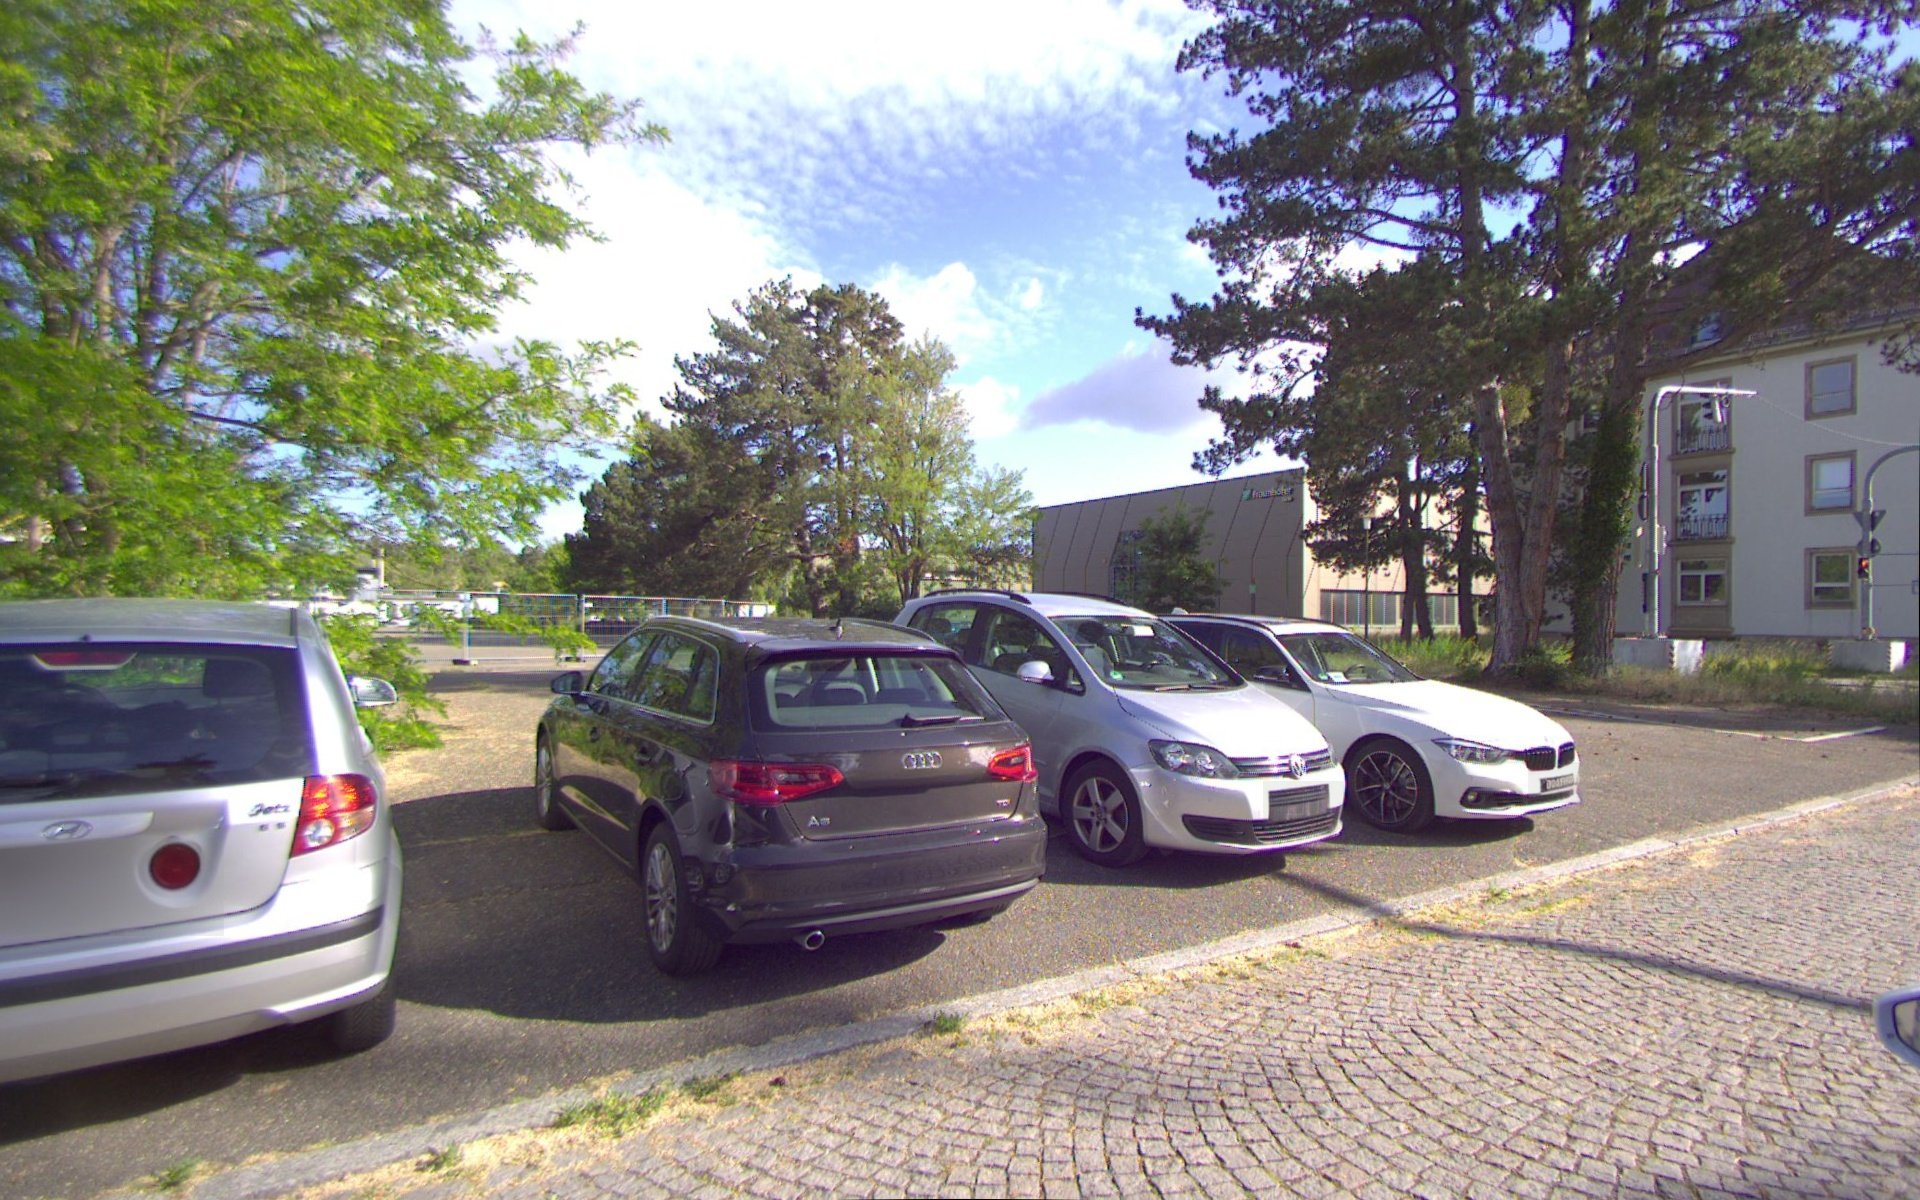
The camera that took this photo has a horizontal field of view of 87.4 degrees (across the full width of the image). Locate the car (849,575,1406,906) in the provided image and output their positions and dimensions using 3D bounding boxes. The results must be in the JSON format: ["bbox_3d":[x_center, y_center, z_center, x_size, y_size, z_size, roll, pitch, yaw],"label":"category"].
[{"bbox_3d":[0.907,0.705,7.308,1.705,1.648,3.916,1,2,-35],"label":"car"}]

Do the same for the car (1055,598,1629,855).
[{"bbox_3d":[2.934,0.816,8.783,1.734,1.487,4.512,1,2,-34],"label":"car"}]

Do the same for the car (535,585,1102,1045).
[{"bbox_3d":[-1.107,0.737,5.517,1.669,1.491,3.775,1,2,-32],"label":"car"}]

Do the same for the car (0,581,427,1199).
[{"bbox_3d":[-3.240,0.734,4.026,1.619,1.491,3.443,1,2,-33],"label":"car"}]

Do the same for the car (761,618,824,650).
[{"bbox_3d":[-7.666,1.510,45.692,1.726,1.388,3.595,1,-1,-29],"label":"car"}]
